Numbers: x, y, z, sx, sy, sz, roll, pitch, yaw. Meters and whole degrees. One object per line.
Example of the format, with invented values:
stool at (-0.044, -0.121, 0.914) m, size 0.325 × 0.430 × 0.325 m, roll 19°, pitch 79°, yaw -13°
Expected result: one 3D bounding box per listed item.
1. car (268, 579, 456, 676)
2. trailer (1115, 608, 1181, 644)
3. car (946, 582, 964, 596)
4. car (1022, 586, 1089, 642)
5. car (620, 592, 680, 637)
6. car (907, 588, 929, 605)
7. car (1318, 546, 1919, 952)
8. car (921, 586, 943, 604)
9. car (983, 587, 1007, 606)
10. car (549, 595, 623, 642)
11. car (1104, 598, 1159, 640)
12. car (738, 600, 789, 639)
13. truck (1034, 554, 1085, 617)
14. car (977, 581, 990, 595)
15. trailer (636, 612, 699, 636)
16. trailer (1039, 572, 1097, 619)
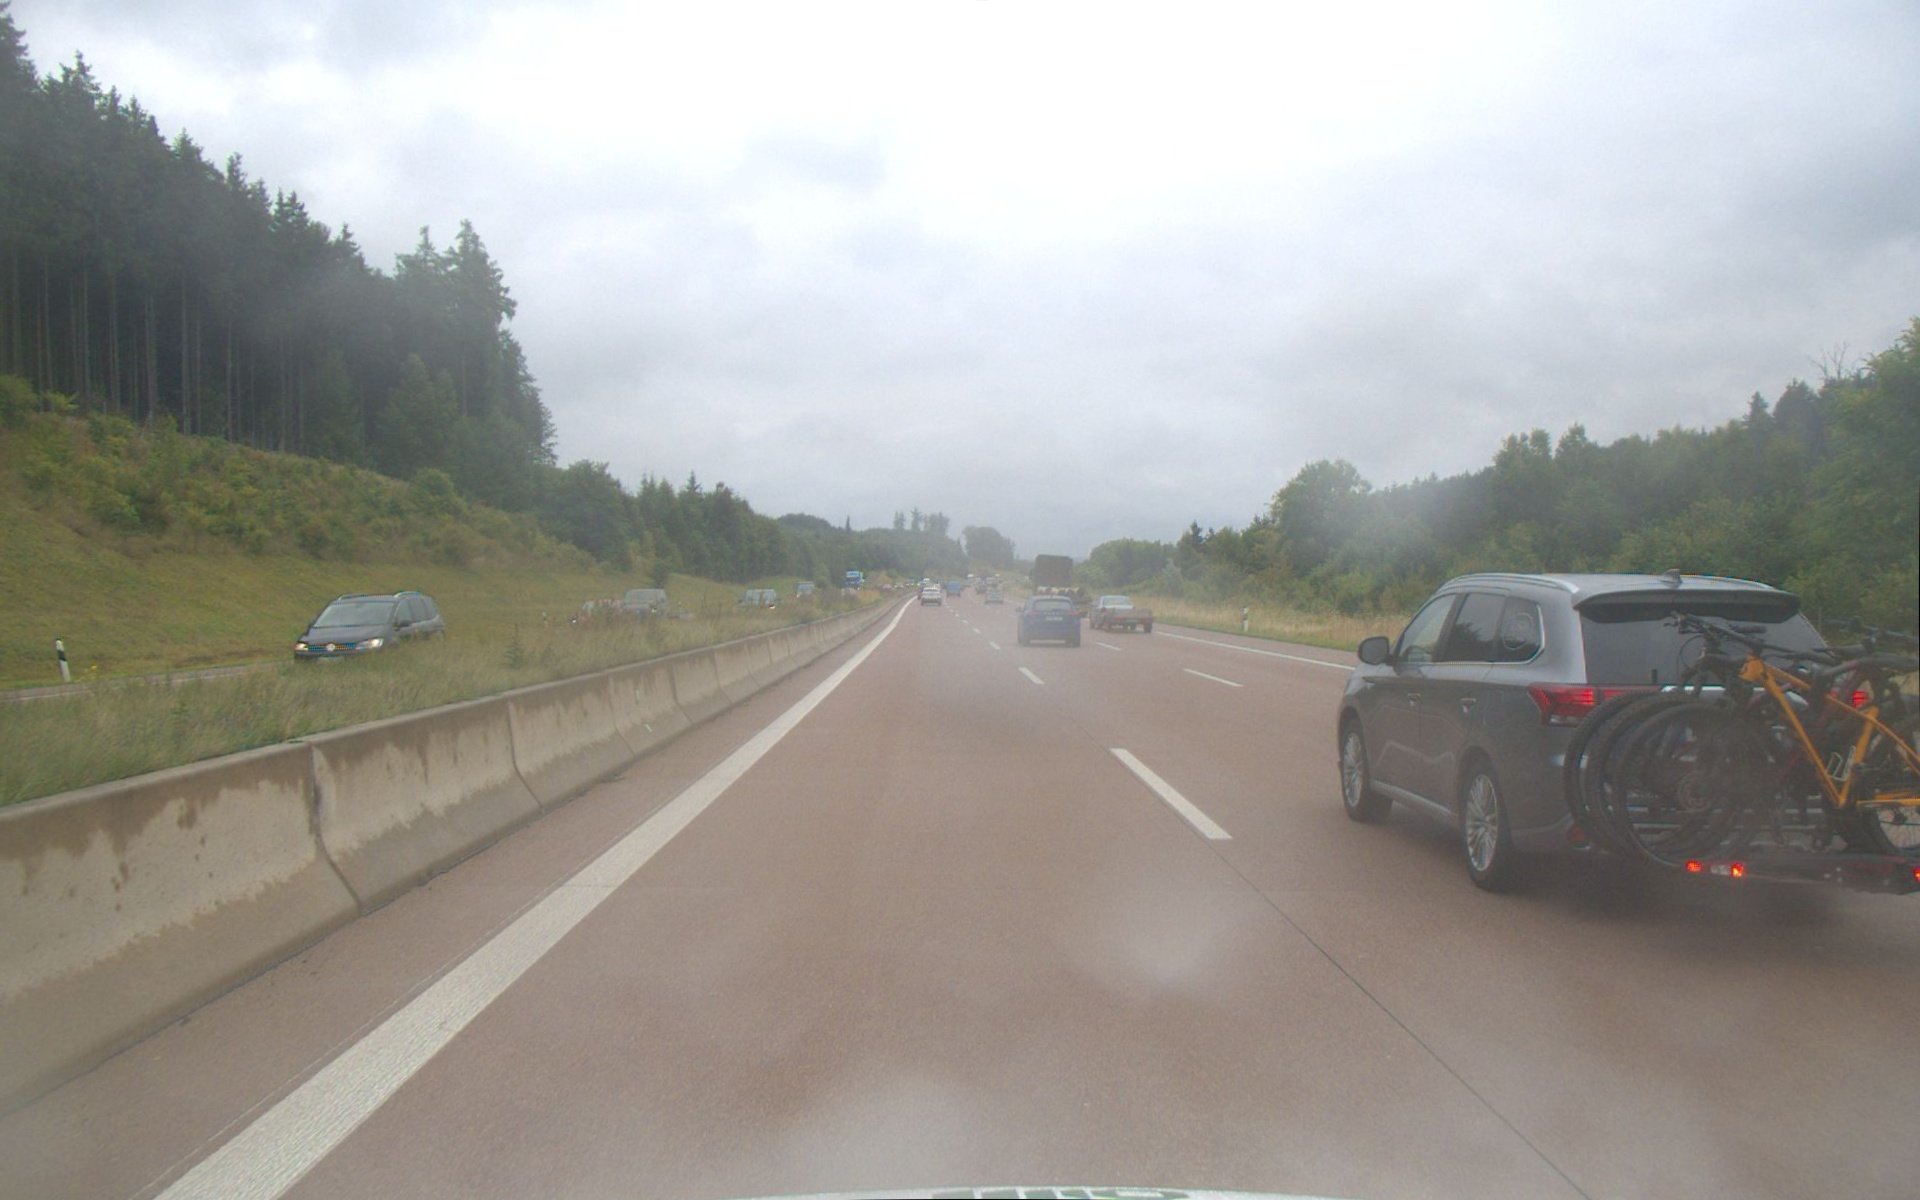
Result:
car at (-11.906, 0.478, 33.351) m, size 1.953 × 1.798 × 5.094 m, roll 0°, pitch 1°, yaw 0°
trailer at (7.065, 0.946, 62.672) m, size 1.931 × 1.187 × 4.639 m, roll 1°, pitch 1°, yaw 0°
car at (-0.626, -1.410, 216.650) m, size 2.275 × 1.780 × 4.876 m, roll 1°, pitch 0°, yaw 0°
car at (2.836, 0.419, 49.763) m, size 1.735 × 1.591 × 4.146 m, roll 1°, pitch 0°, yaw 0°
car at (-14.991, 0.702, 80.258) m, size 1.953 × 2.049 × 5.672 m, roll 1°, pitch 0°, yaw -1°
car at (-4.694, -0.381, 186.255) m, size 2.275 × 1.780 × 4.876 m, roll 1°, pitch 0°, yaw 0°
car at (3.692, 0.629, 9.583) m, size 1.953 × 1.620 × 5.819 m, roll 1°, pitch 0°, yaw 0°
car at (-2.508, -0.458, 147.102) m, size 1.835 × 1.469 × 4.877 m, roll 1°, pitch 2°, yaw 0°
car at (3.440, -0.357, 162.363) m, size 2.275 × 1.780 × 4.876 m, roll 1°, pitch 0°, yaw 0°
car at (-13.123, 0.647, 58.200) m, size 1.691 × 1.556 × 4.116 m, roll 1°, pitch 0°, yaw -1°
car at (6.938, 0.761, 67.437) m, size 1.663 × 1.640 × 4.975 m, roll 0°, pitch 0°, yaw -1°
car at (-9.609, 0.942, 81.191) m, size 1.852 × 1.811 × 4.938 m, roll 1°, pitch 0°, yaw 0°
truck at (6.585, -0.895, 110.275) m, size 2.838 × 4.034 × 6.988 m, roll 1°, pitch -1°, yaw 0°
car at (3.555, -1.830, 251.240) m, size 1.953 × 2.049 × 3.999 m, roll 1°, pitch -1°, yaw 0°
trailer at (-15.138, 1.222, 85.905) m, size 2.161 × 1.015 × 6.849 m, roll -4°, pitch 0°, yaw -1°
trailer at (6.600, -0.224, 102.840) m, size 2.822 × 2.722 × 11.397 m, roll 1°, pitch 0°, yaw 0°
